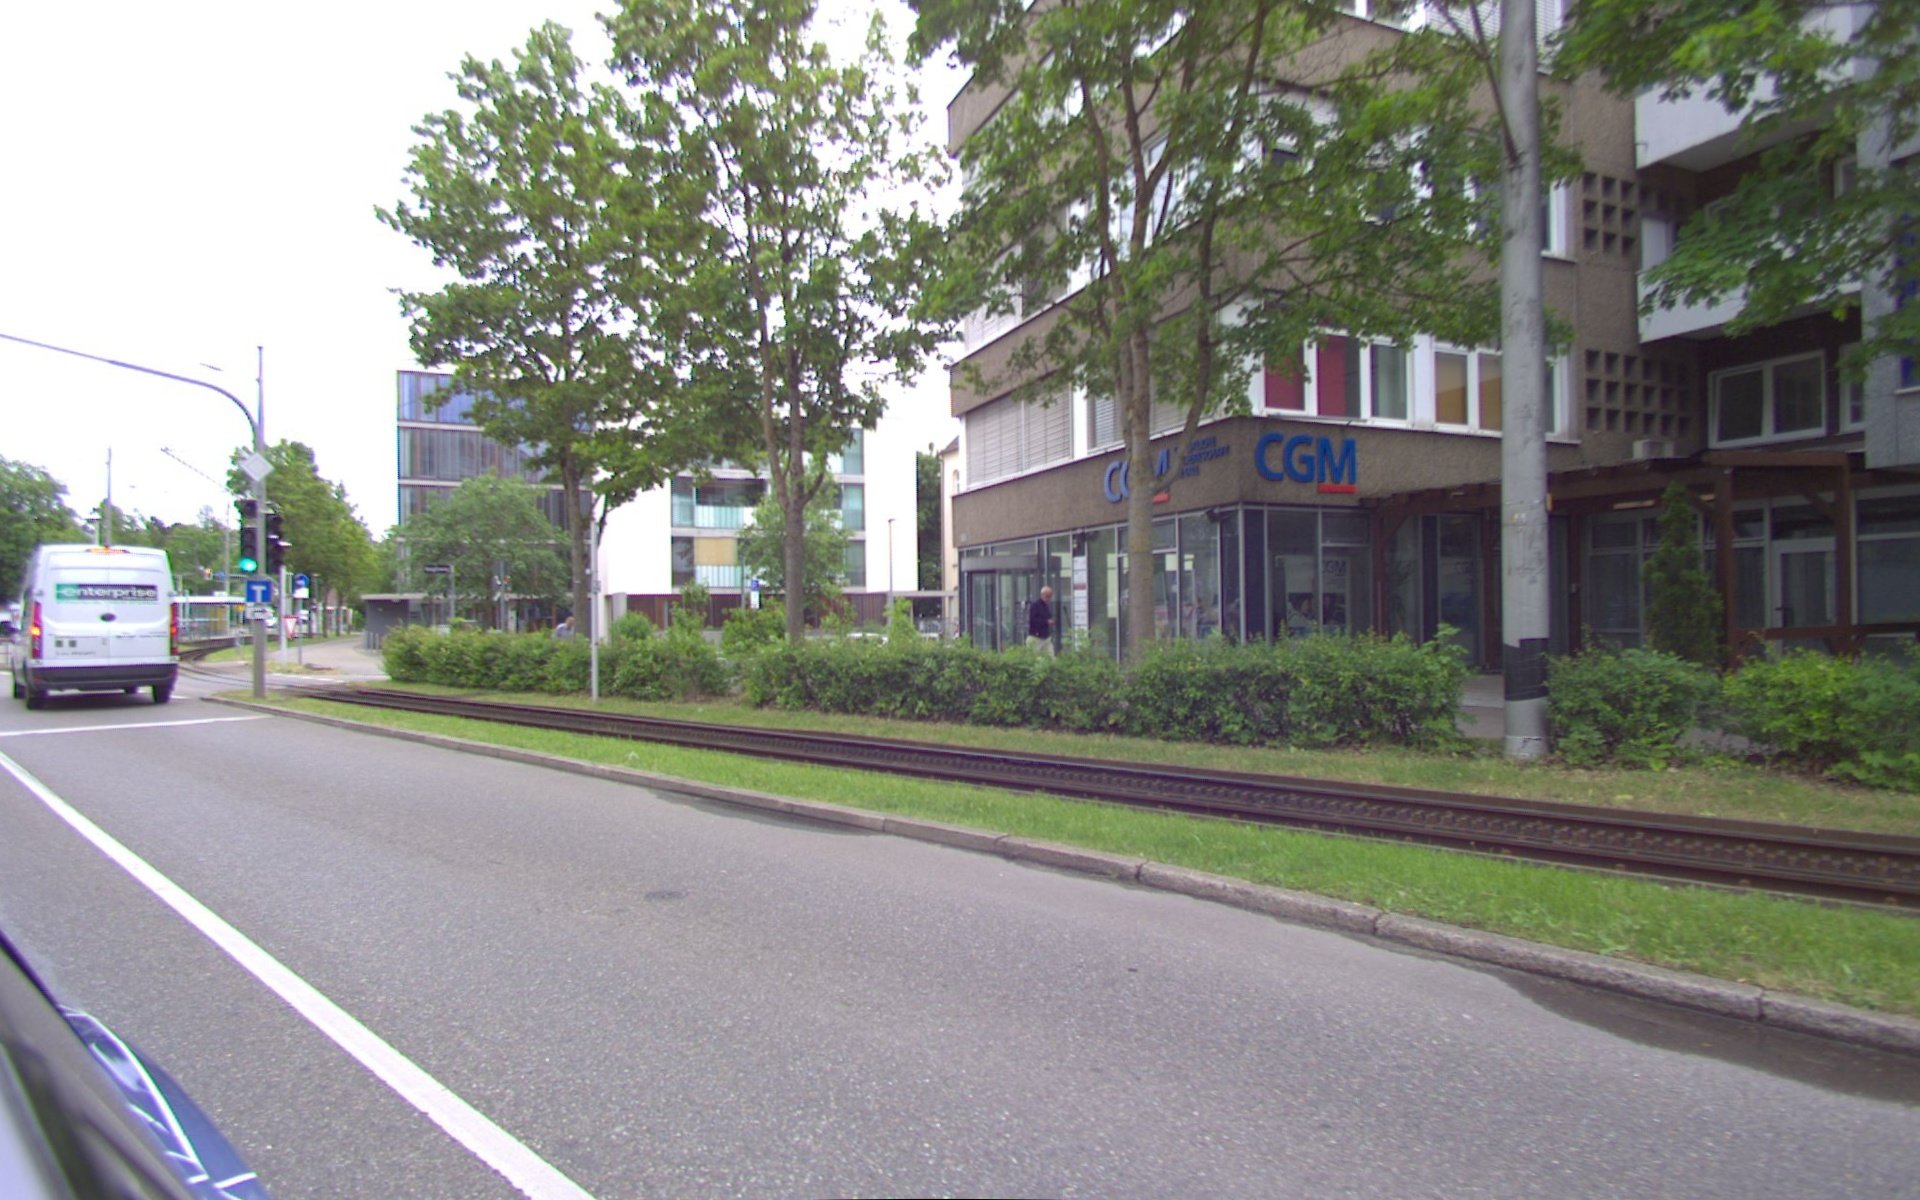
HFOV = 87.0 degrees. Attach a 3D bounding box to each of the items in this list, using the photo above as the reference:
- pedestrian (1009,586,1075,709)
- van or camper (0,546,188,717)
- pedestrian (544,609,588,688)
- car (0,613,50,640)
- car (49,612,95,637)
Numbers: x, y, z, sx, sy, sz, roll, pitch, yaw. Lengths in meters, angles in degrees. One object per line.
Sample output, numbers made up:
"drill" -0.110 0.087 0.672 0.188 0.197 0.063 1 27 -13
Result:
"pedestrian" 1.326 0.742 16.333 0.731 1.908 0.766 -1 0 40
"van or camper" -16.571 0.522 19.113 6.151 2.754 2.085 -1 0 42
"pedestrian" -9.269 1.127 23.808 0.730 1.819 0.672 -1 0 36
"car" -73.151 2.051 79.105 1.965 2.029 4.013 -1 0 -26
"car" -76.980 2.082 87.817 1.965 2.029 4.013 -1 0 -26
